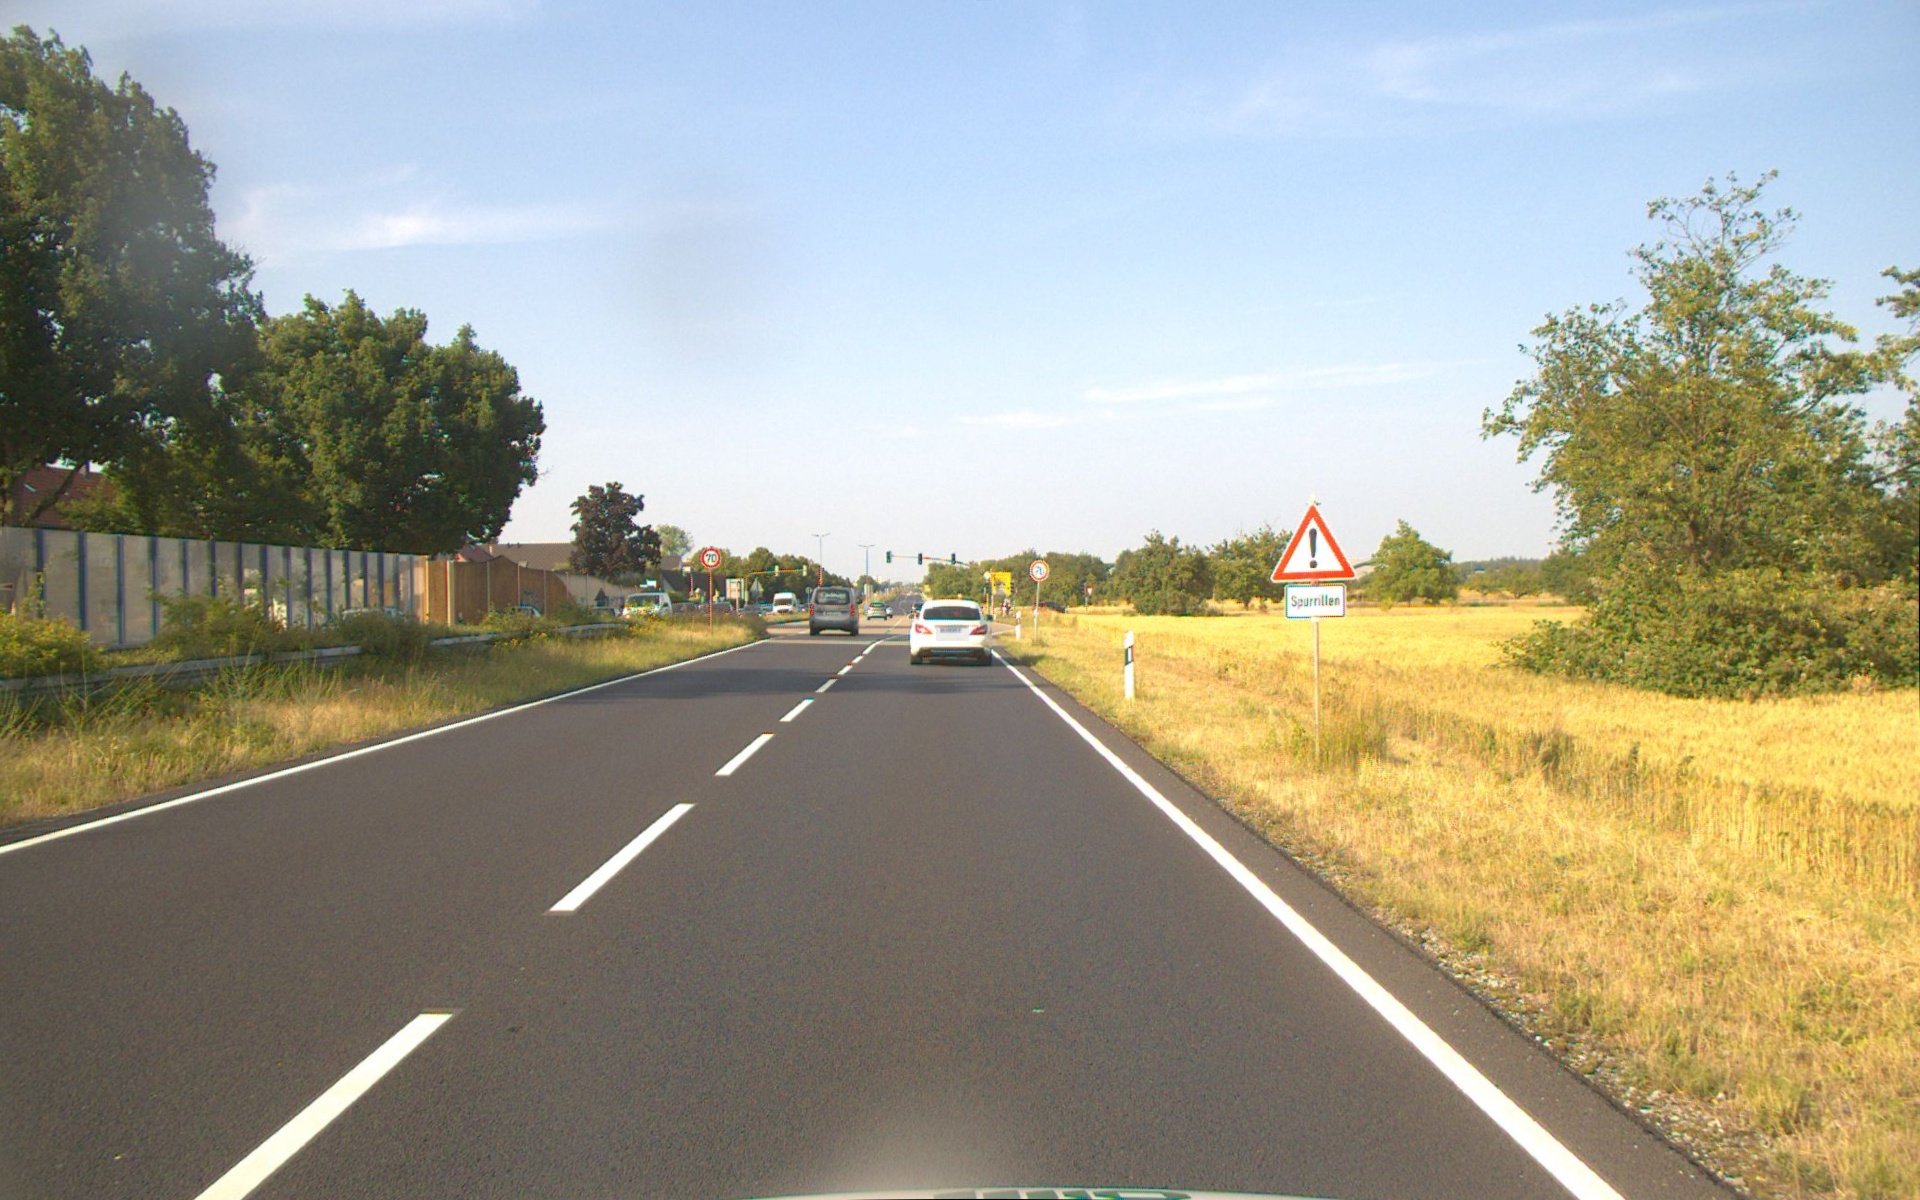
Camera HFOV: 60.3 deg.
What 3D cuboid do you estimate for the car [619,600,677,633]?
[{"bbox_3d":[-14.851,0.781,78.991,1.941,1.510,5.058,1,0,-2],"label":"car"}]

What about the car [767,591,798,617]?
[{"bbox_3d":[-16.721,0.375,156.188,2.301,2.344,7.188,1,0,-2],"label":"car"}]

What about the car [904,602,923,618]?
[{"bbox_3d":[-5.078,1.035,178.959,1.803,1.713,3.996,1,0,-5],"label":"car"}]

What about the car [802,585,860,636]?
[{"bbox_3d":[-5.095,0.389,65.963,1.984,1.925,4.957,1,0,-1],"label":"car"}]

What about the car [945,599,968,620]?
[{"bbox_3d":[-0.284,0.701,127.269,1.718,1.543,3.999,-1,0,-1],"label":"car"}]

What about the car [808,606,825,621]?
[{"bbox_3d":[-16.507,1.507,190.610,1.696,1.653,4.920,1,0,-2],"label":"car"}]

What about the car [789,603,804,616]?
[{"bbox_3d":[-22.163,1.332,224.885,1.687,1.736,3.999,1,0,-1],"label":"car"}]

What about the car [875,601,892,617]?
[{"bbox_3d":[-8.192,0.925,176.816,1.741,1.695,3.659,1,0,-5],"label":"car"}]

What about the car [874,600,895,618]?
[{"bbox_3d":[-6.482,0.764,141.597,1.682,1.518,3.583,1,0,-1],"label":"car"}]

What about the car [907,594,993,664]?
[{"bbox_3d":[-0.275,0.632,38.028,1.856,1.535,3.999,0,0,-2],"label":"car"}]
